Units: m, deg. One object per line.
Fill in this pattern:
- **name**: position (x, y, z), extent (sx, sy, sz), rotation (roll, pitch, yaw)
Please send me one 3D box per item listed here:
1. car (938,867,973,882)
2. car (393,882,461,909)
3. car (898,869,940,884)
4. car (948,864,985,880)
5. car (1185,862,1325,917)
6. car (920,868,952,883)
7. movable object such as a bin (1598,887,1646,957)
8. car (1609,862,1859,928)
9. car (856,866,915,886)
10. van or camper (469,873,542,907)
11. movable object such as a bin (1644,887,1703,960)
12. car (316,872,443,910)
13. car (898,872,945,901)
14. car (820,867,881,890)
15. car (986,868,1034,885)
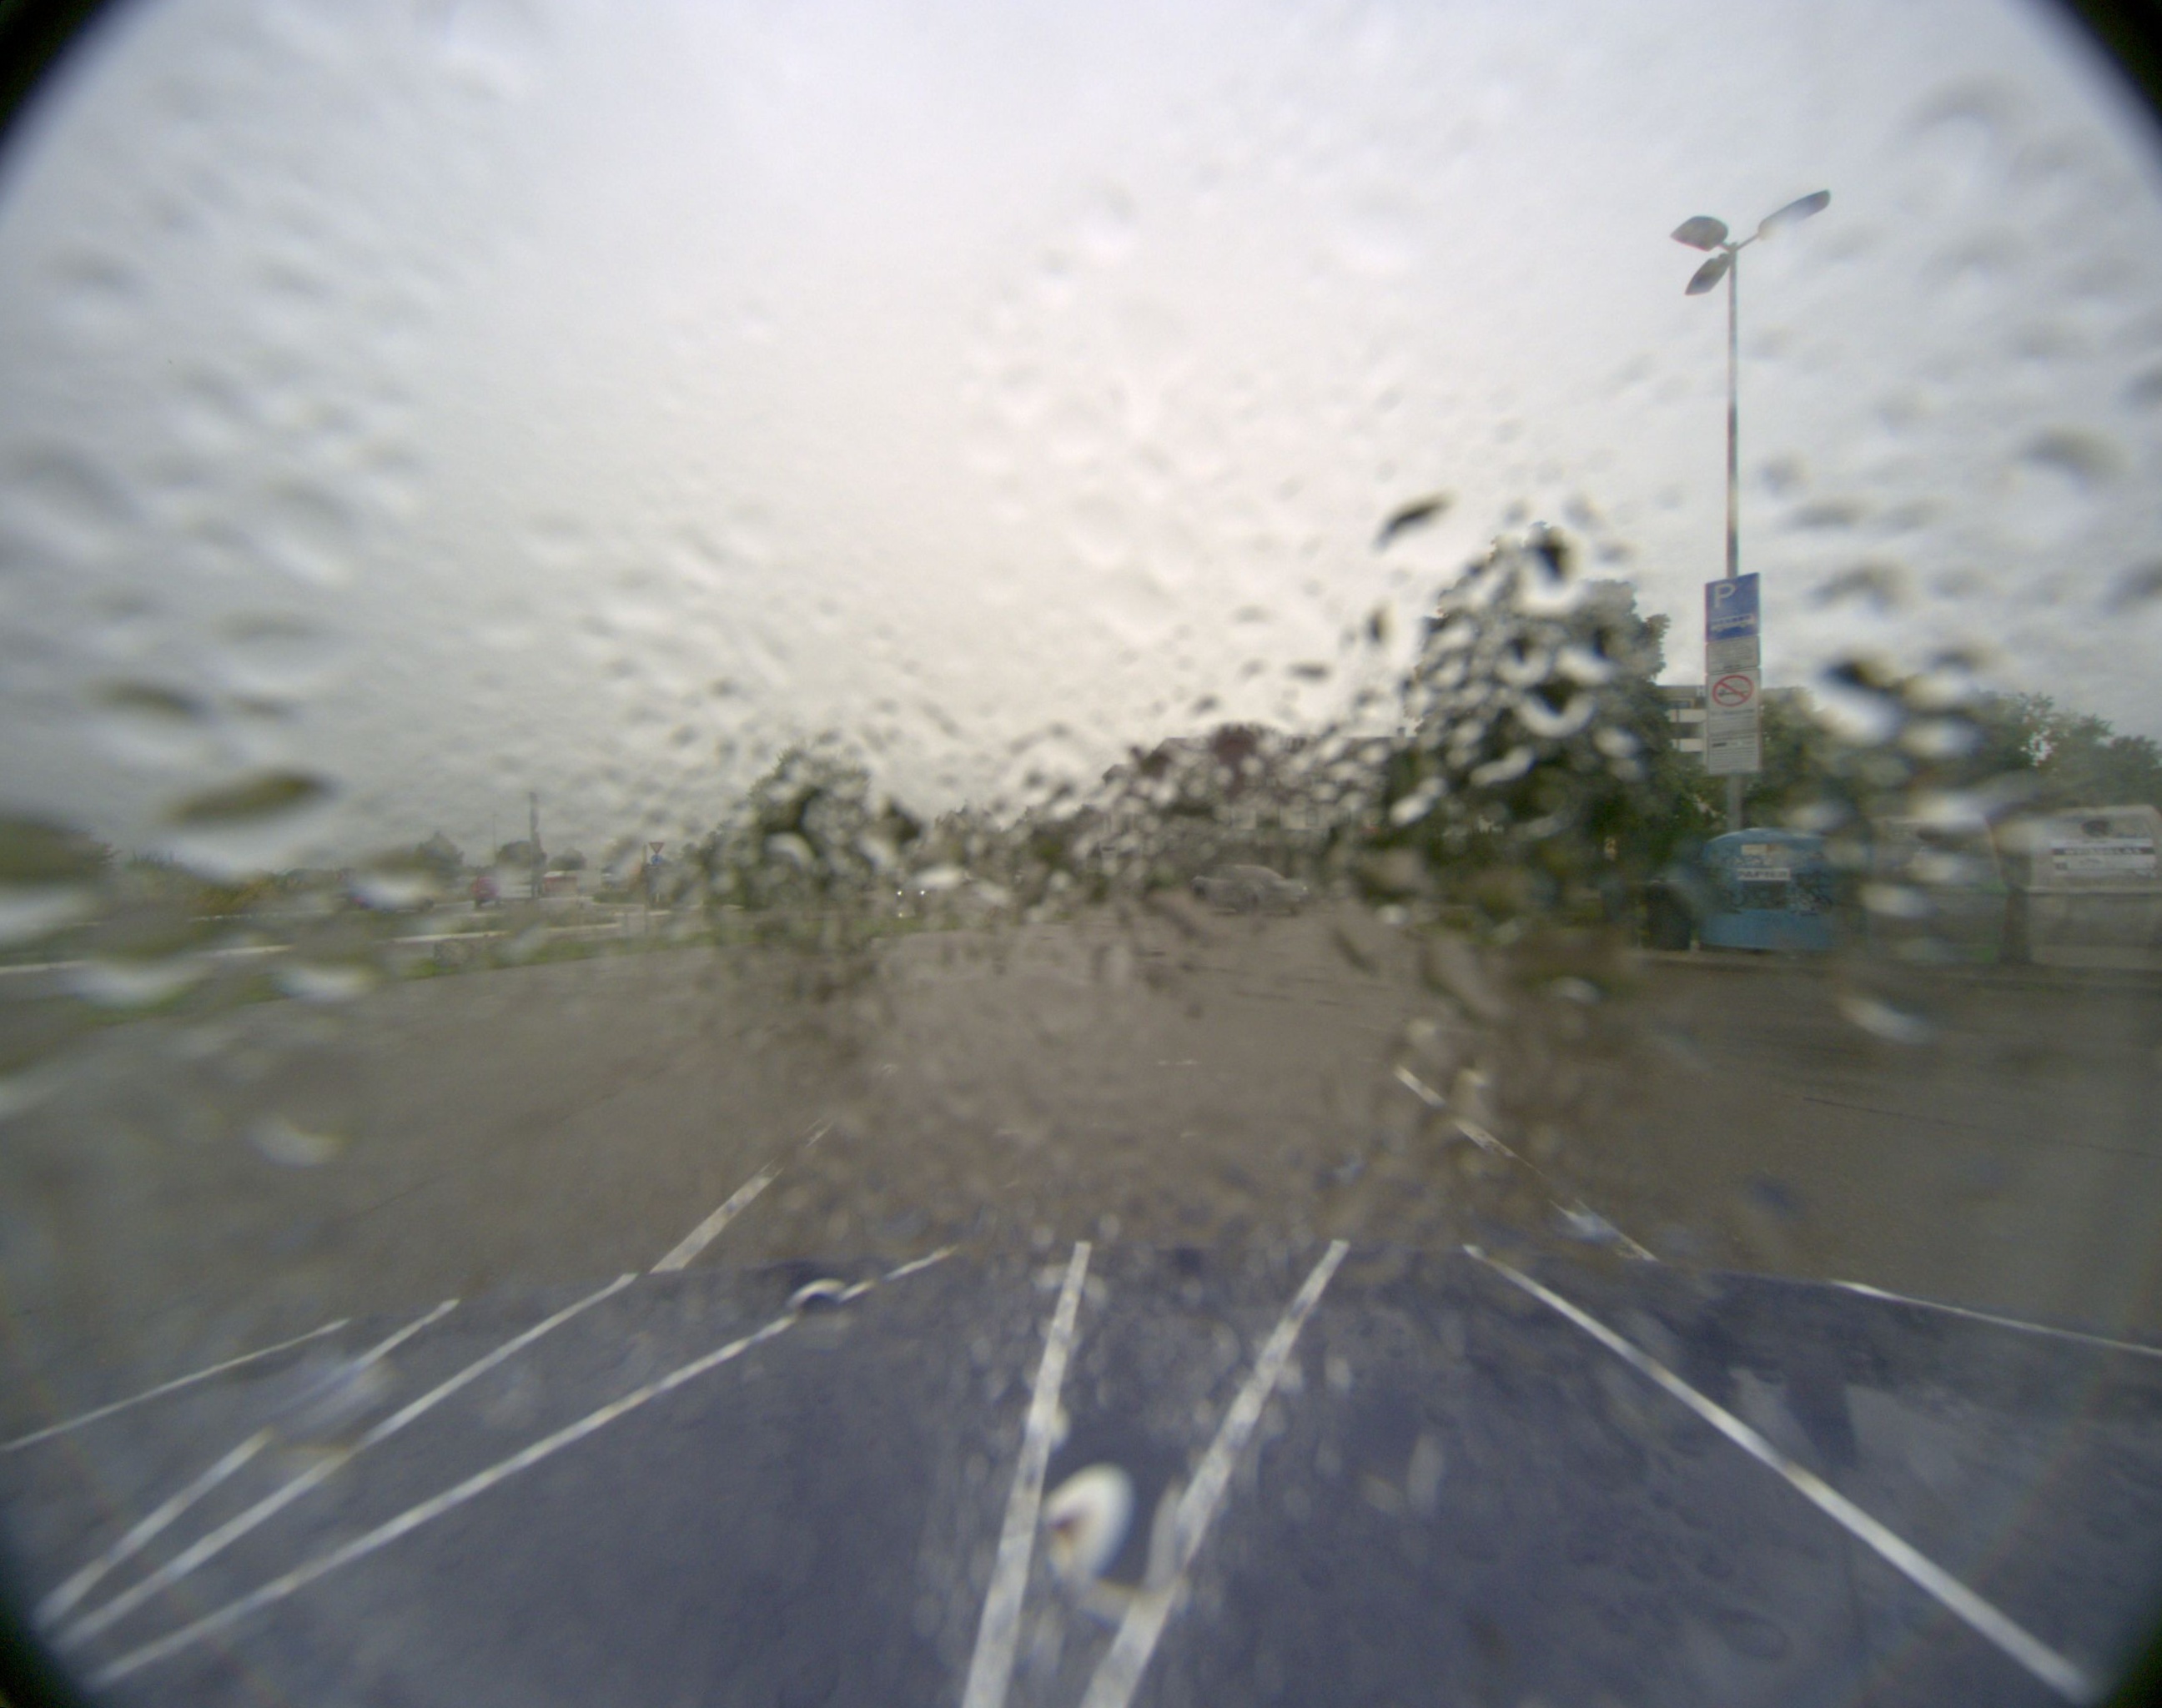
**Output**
- **car**: position (-14.462, 2.318, 87.215), extent (3.878, 1.560, 1.753), rotation (-3, -1, 39)
- **car**: position (-54.298, 3.472, 63.154), extent (3.995, 2.001, 2.001), rotation (-2, -1, 6)
- **car**: position (-17.812, 2.475, 83.368), extent (4.636, 1.541, 2.004), rotation (-3, -1, 41)
- **car**: position (-13.501, 2.132, 89.395), extent (3.989, 1.717, 1.994), rotation (-3, -1, 38)
- **car**: position (5.448, 1.107, 24.391), extent (2.003, 1.565, 4.492), rotation (0, -2, -25)
- **car**: position (-16.311, 2.409, 85.478), extent (3.716, 1.540, 1.670), rotation (-3, -1, 44)
- **movable object such as a bin**: position (7.607, 0.951, 10.698), extent (0.434, 0.943, 0.474), rotation (-2, 0, 25)
- **car**: position (15.960, 0.952, 18.839), extent (1.873, 1.440, 4.319), rotation (0, -1, -32)
- **car**: position (-19.402, 2.148, 75.571), extent (5.374, 1.711, 2.000), rotation (-2, -1, -1)
- **van or camper**: position (-36.163, 2.225, 47.908), extent (2.001, 2.001, 4.840), rotation (1, -1, -16)
- **movable object such as a bin**: position (7.973, 0.927, 10.234), extent (0.405, 0.943, 0.450), rotation (-2, 0, 1)
- **car**: position (-34.261, 1.754, 37.296), extent (1.999, 1.593, 4.524), rotation (-2, 0, 0)
- **car**: position (-9.295, 1.865, 44.596), extent (1.705, 1.417, 4.360), rotation (-2, 1, 2)
- **car**: position (-19.807, 2.113, 65.468), extent (4.606, 1.711, 2.000), rotation (-2, -1, -1)
- **car**: position (-6.650, 2.131, 71.628), extent (4.358, 1.416, 1.850), rotation (-2, -1, -3)
